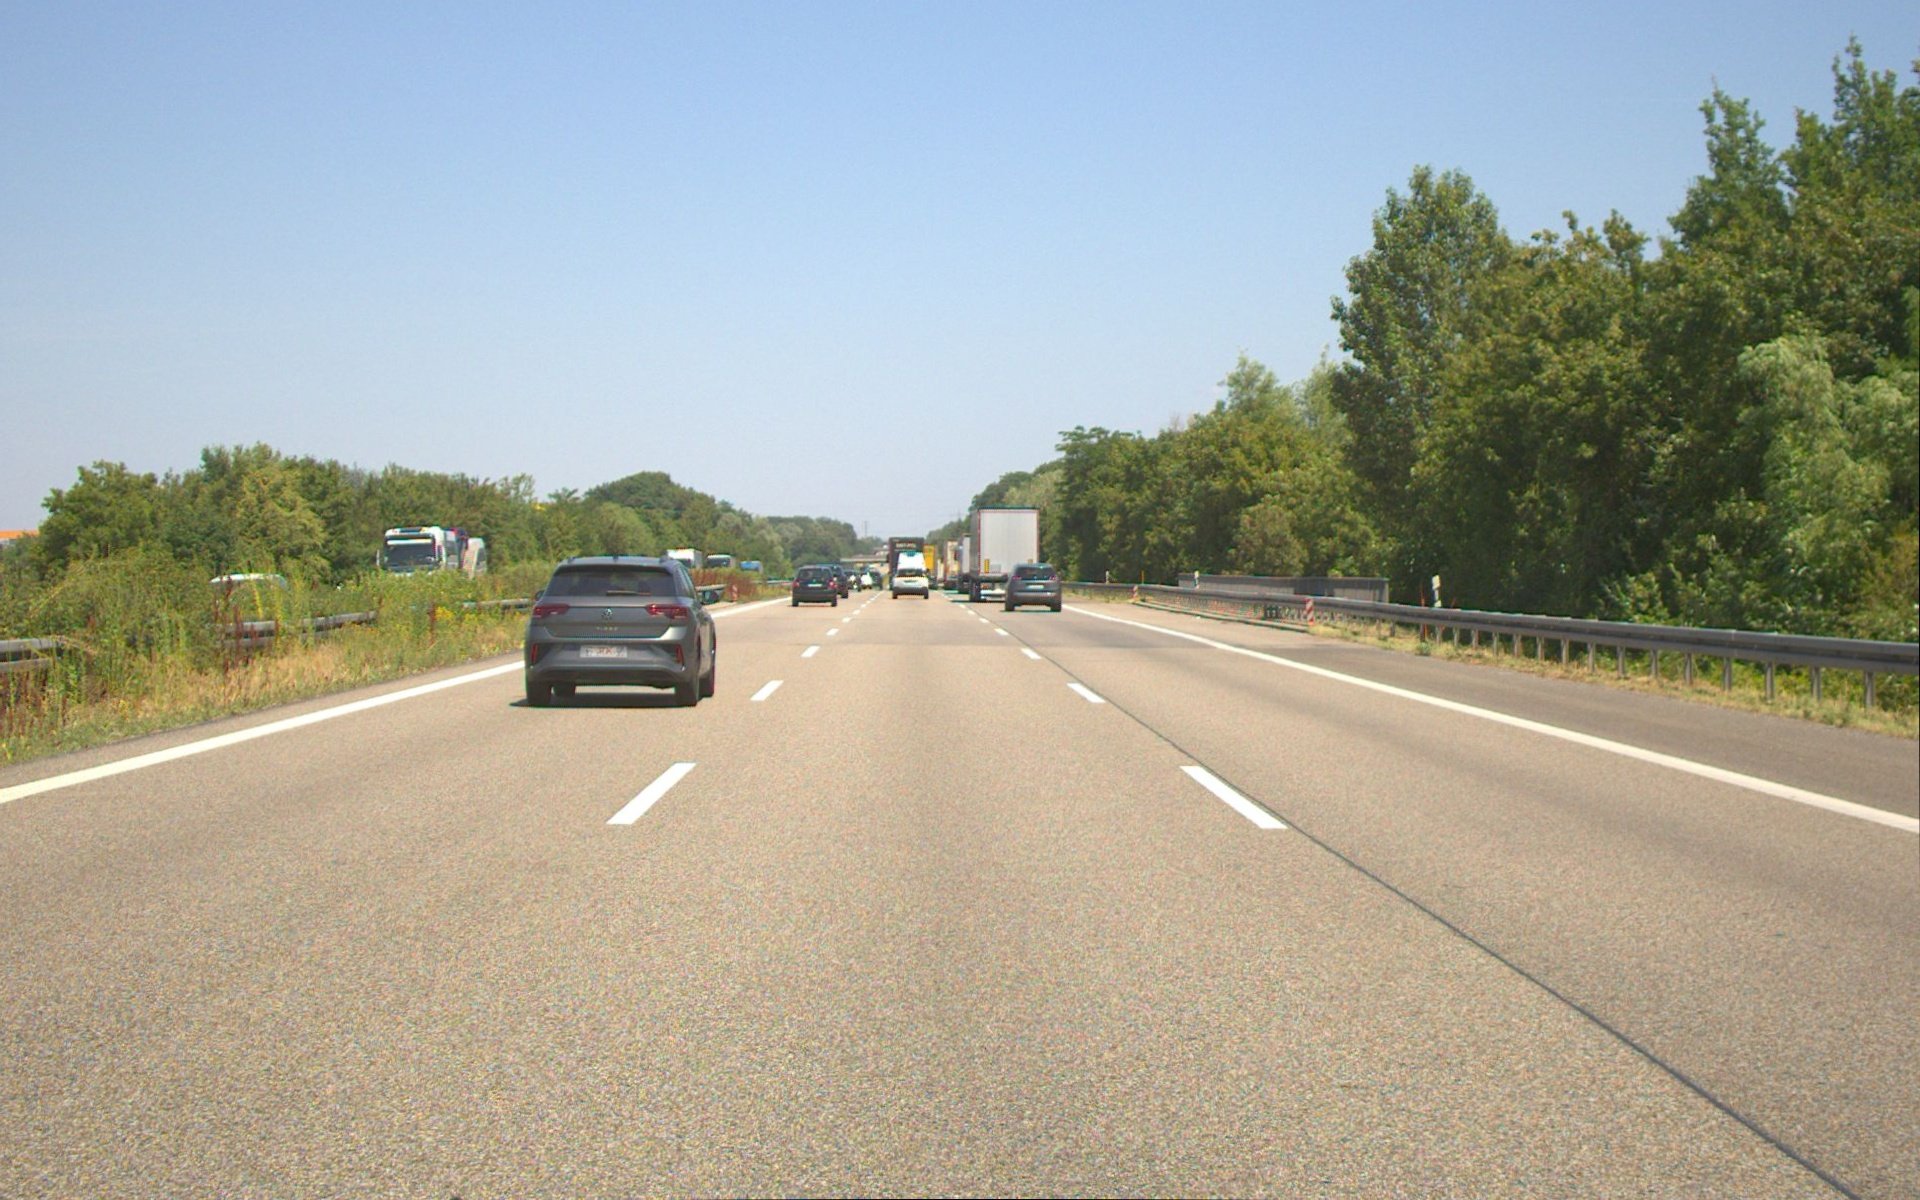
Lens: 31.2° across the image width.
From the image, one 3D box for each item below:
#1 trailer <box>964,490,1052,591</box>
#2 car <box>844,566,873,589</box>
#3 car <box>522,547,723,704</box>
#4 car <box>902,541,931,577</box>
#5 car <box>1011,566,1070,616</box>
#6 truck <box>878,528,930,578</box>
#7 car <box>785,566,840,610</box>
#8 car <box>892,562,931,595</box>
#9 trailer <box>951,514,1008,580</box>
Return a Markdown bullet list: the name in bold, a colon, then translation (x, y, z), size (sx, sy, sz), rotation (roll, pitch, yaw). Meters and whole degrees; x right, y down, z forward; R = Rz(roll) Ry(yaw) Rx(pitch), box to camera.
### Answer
- **trailer**: translation (2.015, -2.516, 150.493), size (3.434, 4.167, 13.633), rotation (1, 0, -1)
- **car**: translation (-6.970, -1.538, 236.875), size (1.907, 1.525, 4.286), rotation (1, 1, -1)
- **car**: translation (-3.535, 0.225, 36.659), size (1.759, 1.525, 4.286), rotation (1, 1, -1)
- **car**: translation (-2.975, -2.822, 234.652), size (1.907, 2.417, 4.286), rotation (1, 1, -1)
- **car**: translation (2.713, -0.321, 116.794), size (1.845, 1.623, 4.135), rotation (0, 1, 0)
- **truck**: translation (-4.192, -3.551, 258.841), size (3.667, 3.713, 7.108), rotation (1, 1, 0)
- **car**: translation (-5.436, -0.456, 126.905), size (1.900, 1.525, 4.084), rotation (1, 1, -1)
- **car**: translation (-2.365, -1.036, 167.844), size (1.900, 1.525, 4.084), rotation (1, 1, -1)
- **trailer**: translation (1.161, -3.247, 211.040), size (3.122, 3.913, 9.937), rotation (1, 1, -2)
